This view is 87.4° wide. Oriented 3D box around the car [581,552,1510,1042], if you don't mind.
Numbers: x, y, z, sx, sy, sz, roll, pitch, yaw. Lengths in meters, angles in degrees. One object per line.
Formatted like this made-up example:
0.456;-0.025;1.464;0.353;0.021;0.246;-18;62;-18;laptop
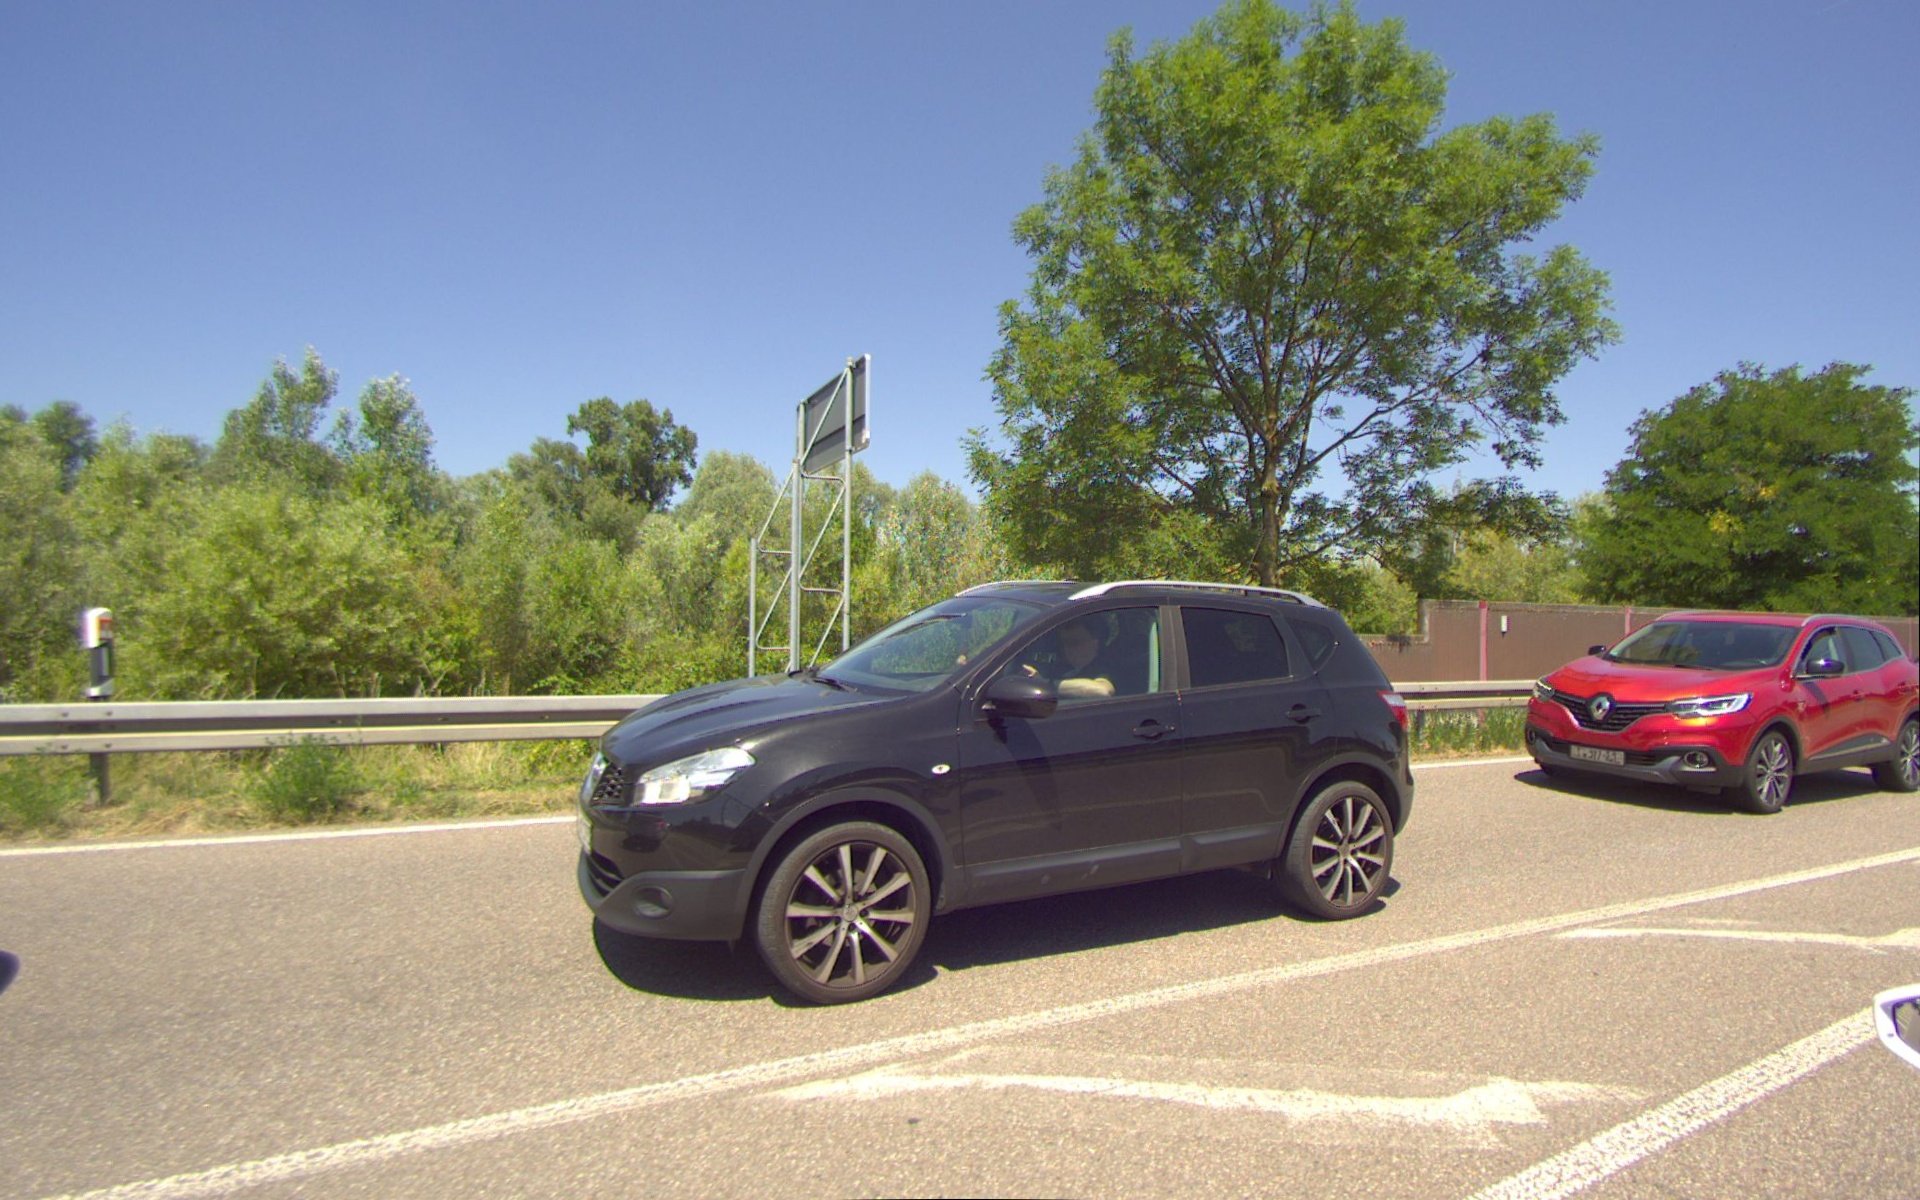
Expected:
0.558;0.690;5.100;4.477;1.610;1.710;1;0;-27;car

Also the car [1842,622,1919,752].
13.189;1.083;12.638;4.560;1.479;1.678;2;0;-29;car

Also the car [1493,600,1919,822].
7.099;0.875;9.288;4.225;1.653;1.748;1;0;-28;car

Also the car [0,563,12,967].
-5.234;0.568;1.978;4.571;1.498;1.647;1;0;-27;car
